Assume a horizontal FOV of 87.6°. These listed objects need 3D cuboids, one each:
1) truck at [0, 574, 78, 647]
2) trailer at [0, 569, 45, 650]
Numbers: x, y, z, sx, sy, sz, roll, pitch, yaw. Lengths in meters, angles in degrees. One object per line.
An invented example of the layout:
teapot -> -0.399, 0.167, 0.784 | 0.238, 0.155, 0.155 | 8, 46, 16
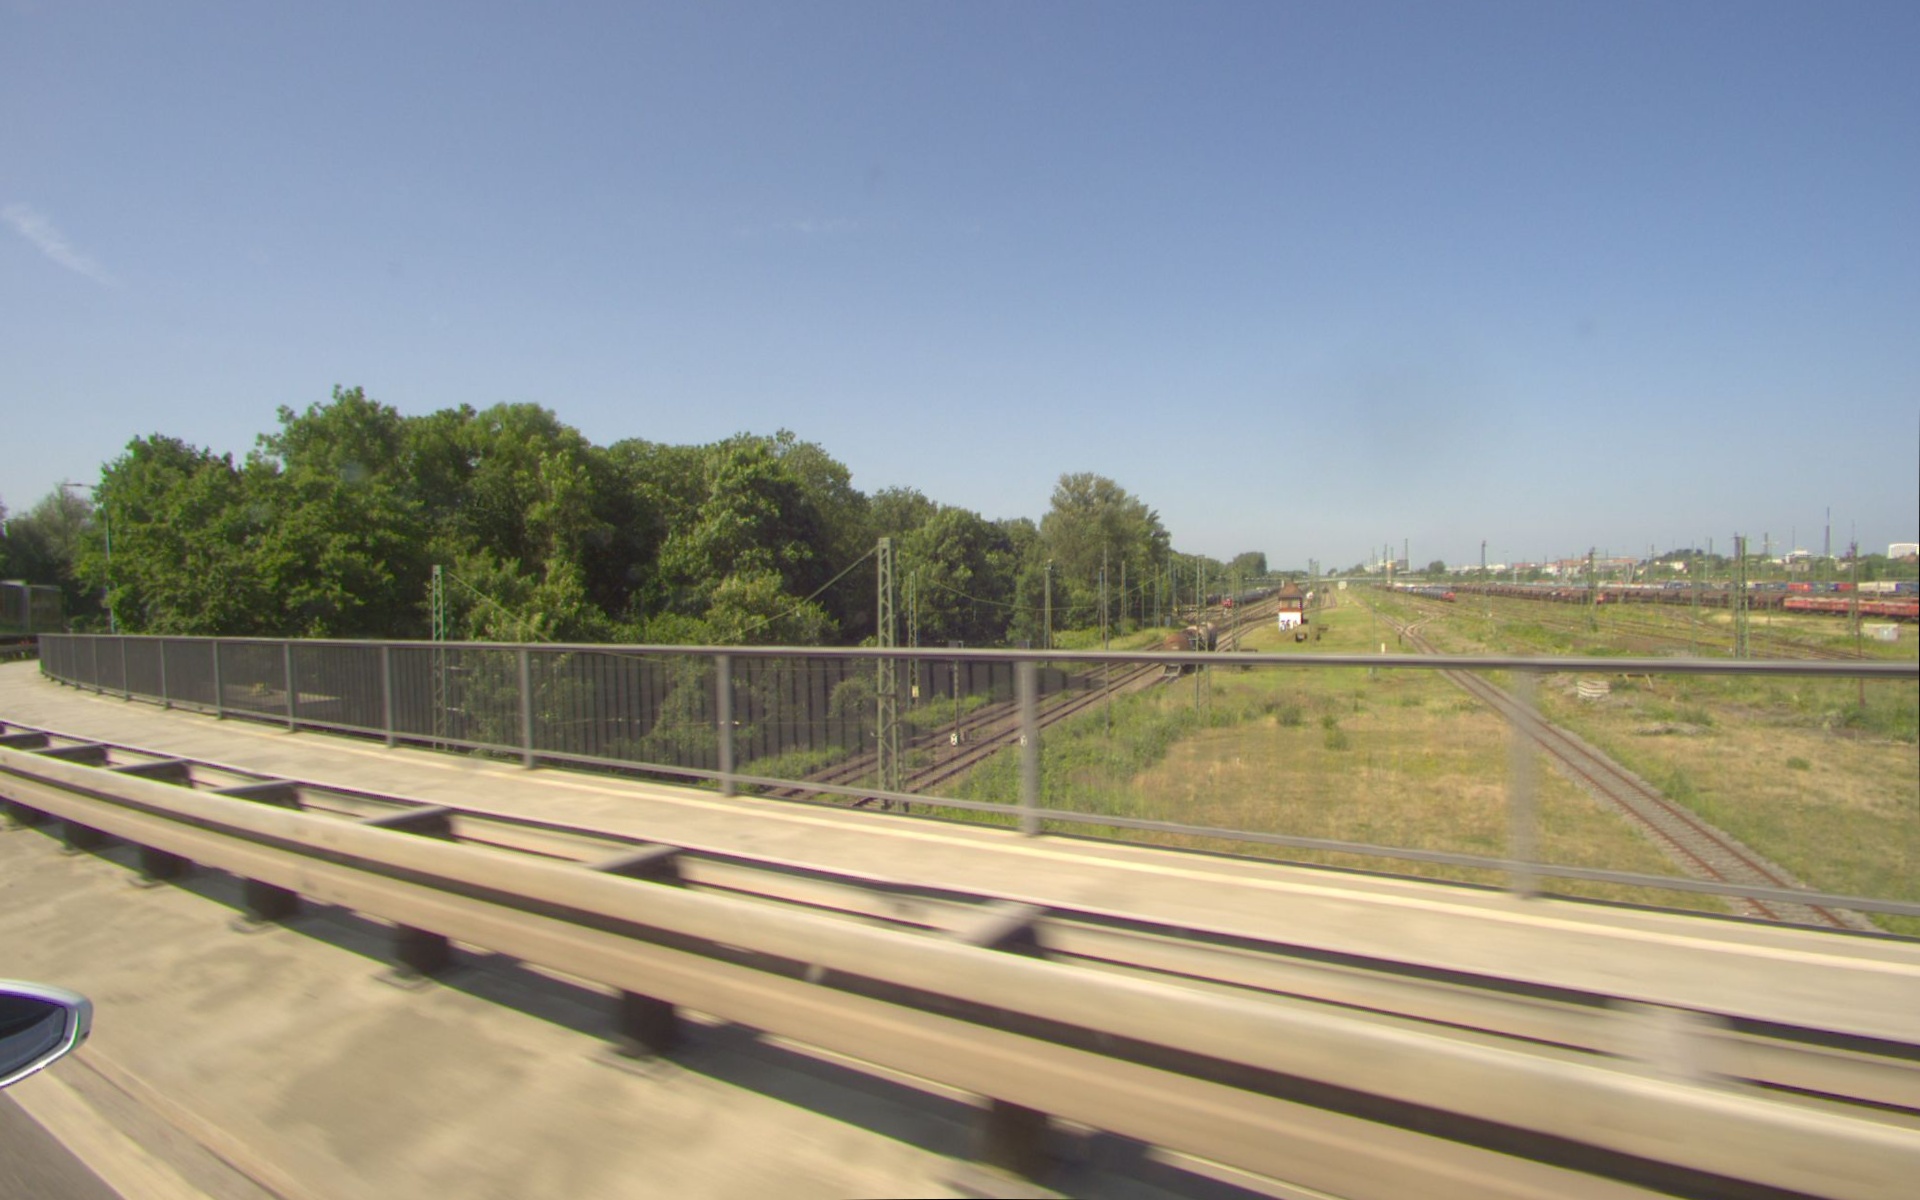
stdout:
truck -> -52.501, 0.635, 56.107 | 3.228, 3.806, 8.321 | 2, -2, -33
trailer -> -48.234, 0.471, 49.358 | 3.192, 3.806, 7.778 | 2, -2, -33
